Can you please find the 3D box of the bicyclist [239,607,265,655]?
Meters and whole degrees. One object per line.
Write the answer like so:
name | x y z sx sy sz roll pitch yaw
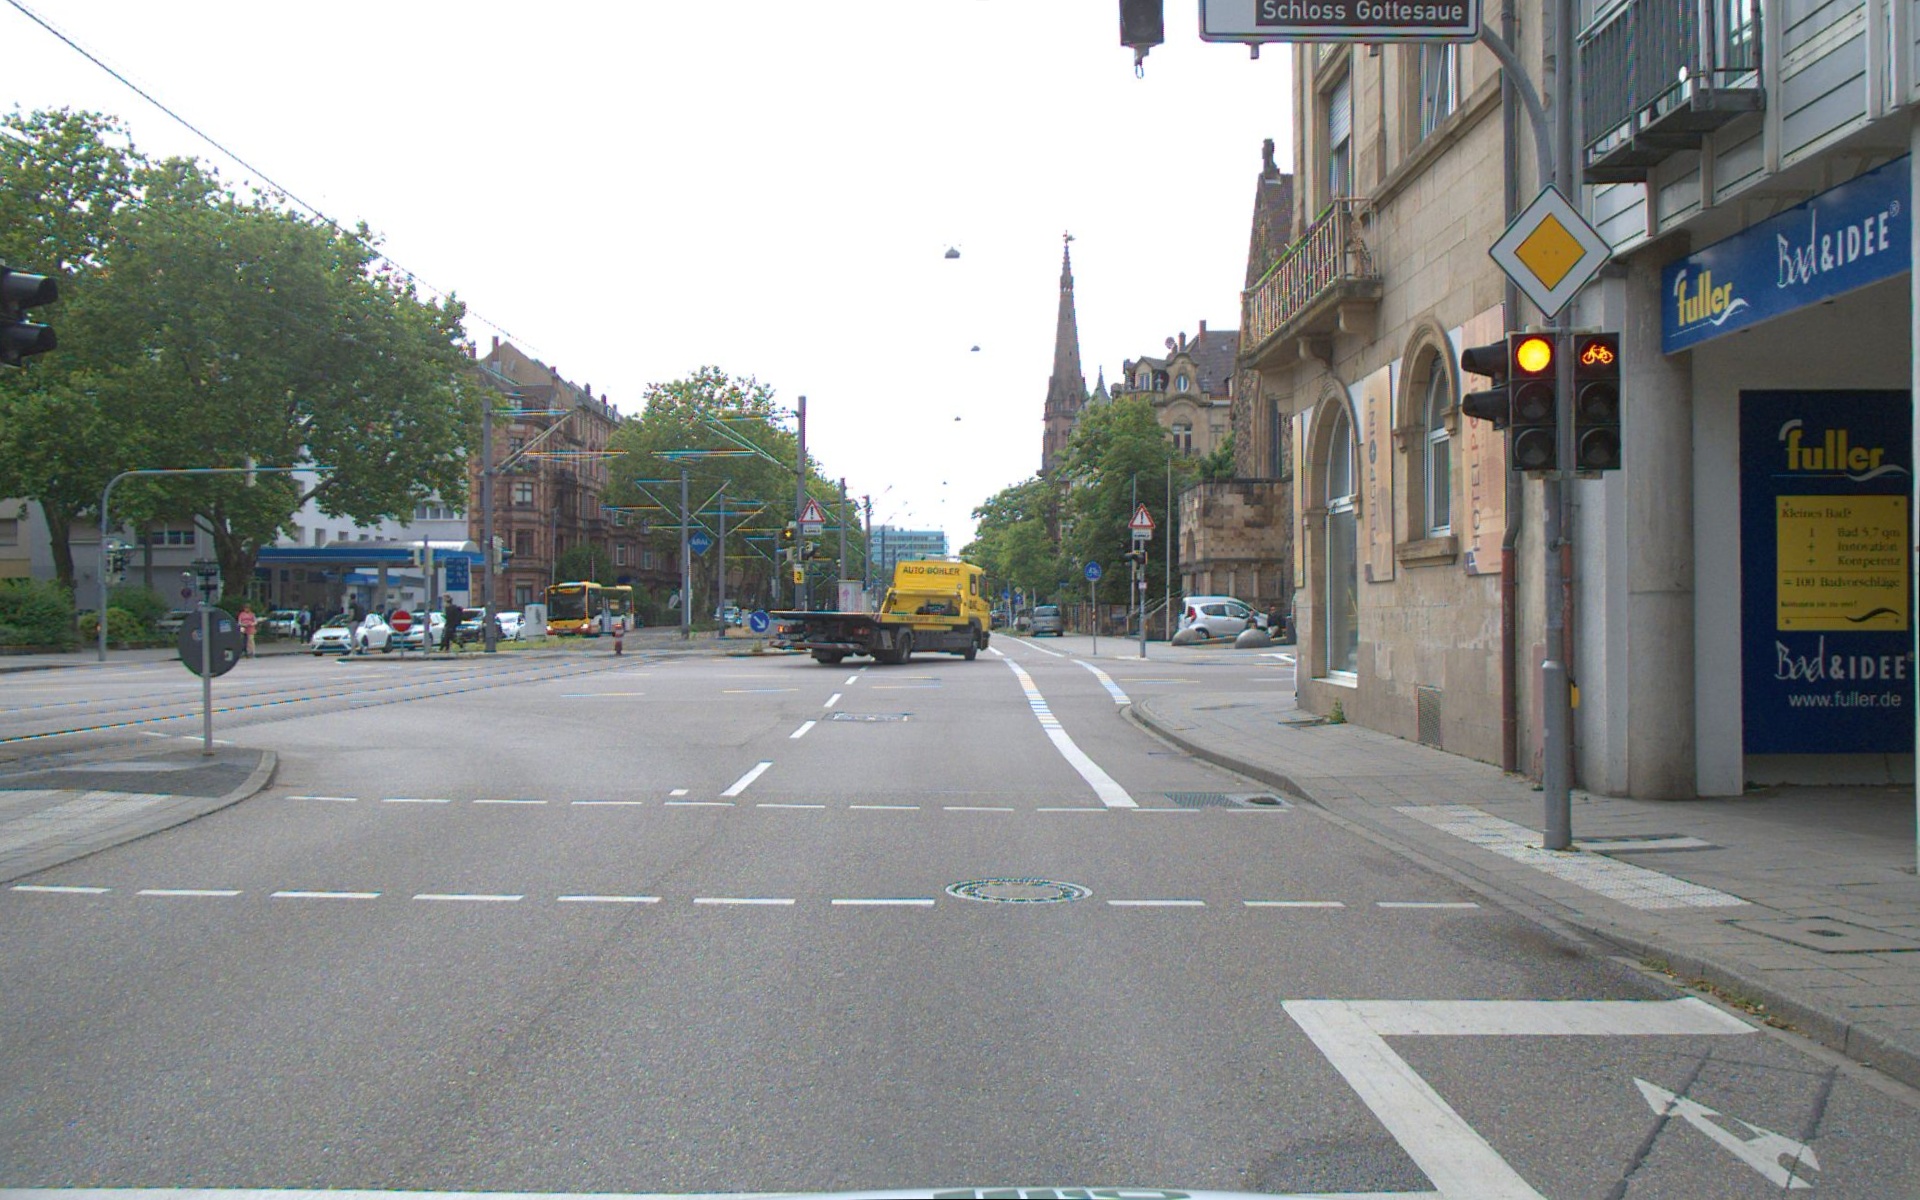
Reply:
bicyclist | -23.523 1.022 54.953 0.576 1.595 0.618 1 -1 -1

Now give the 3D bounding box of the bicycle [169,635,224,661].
bicycle | -24.928 1.568 53.997 1.645 0.786 0.656 1 -1 20

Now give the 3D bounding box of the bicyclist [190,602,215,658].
bicyclist | -24.740 0.986 54.019 0.522 1.815 0.470 1 -1 19

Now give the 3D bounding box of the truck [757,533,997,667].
truck | -1.790 0.023 42.118 2.573 2.992 10.183 1 0 18

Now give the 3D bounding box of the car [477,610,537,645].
car | -21.543 1.309 78.810 1.856 1.585 3.835 1 -1 -1

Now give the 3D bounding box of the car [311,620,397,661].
car | -21.418 1.408 58.574 1.601 1.349 3.999 1 -1 -1

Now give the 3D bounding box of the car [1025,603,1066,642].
car | 4.639 1.213 90.165 1.953 2.049 3.999 1 -1 -1

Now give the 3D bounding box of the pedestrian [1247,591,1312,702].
pedestrian | 4.963 0.707 25.667 0.616 1.681 0.993 0 -1 36

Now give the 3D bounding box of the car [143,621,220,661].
car | -32.540 1.680 69.259 1.859 1.585 3.828 1 -1 -9

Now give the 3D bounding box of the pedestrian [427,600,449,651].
pedestrian | -16.186 0.802 51.319 0.535 1.564 0.465 1 -1 -5

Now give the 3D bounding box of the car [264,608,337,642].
car | -31.860 1.204 79.980 1.953 1.557 3.999 1 -1 -1

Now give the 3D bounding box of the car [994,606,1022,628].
car | 3.745 1.296 128.526 1.953 1.635 4.163 -2 0 -1

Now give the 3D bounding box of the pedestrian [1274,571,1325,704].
pedestrian | 4.875 0.527 23.713 0.571 1.845 1.015 1 -1 19

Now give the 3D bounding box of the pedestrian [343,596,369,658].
pedestrian | -17.938 0.788 49.155 0.562 1.826 0.518 1 -1 -5

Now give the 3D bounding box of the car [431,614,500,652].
car | -21.491 1.423 71.978 1.856 1.585 3.835 1 -1 -1

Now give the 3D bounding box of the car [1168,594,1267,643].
car | 10.632 0.778 68.472 3.721 1.937 2.000 1 -1 -1

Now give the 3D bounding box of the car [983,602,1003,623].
car | 3.454 1.301 172.634 1.953 2.049 3.999 1 -1 -1

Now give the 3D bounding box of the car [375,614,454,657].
car | -21.391 1.366 65.001 1.856 1.585 3.835 1 -1 -1

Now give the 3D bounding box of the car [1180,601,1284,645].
car | 10.679 0.904 65.061 3.721 1.629 2.000 1 -1 -1

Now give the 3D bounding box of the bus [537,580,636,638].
bus | -21.892 0.562 97.913 3.022 3.166 13.091 1 0 -1

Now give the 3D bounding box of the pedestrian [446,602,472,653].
pedestrian | -15.446 0.841 50.971 0.640 1.564 0.465 1 -1 -5

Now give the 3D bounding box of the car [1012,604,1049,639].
car | 4.209 1.285 99.720 1.953 2.049 3.999 1 -1 -1

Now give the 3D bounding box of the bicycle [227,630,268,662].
bicycle | -23.527 1.509 54.650 0.511 1.035 1.936 1 -1 -1
